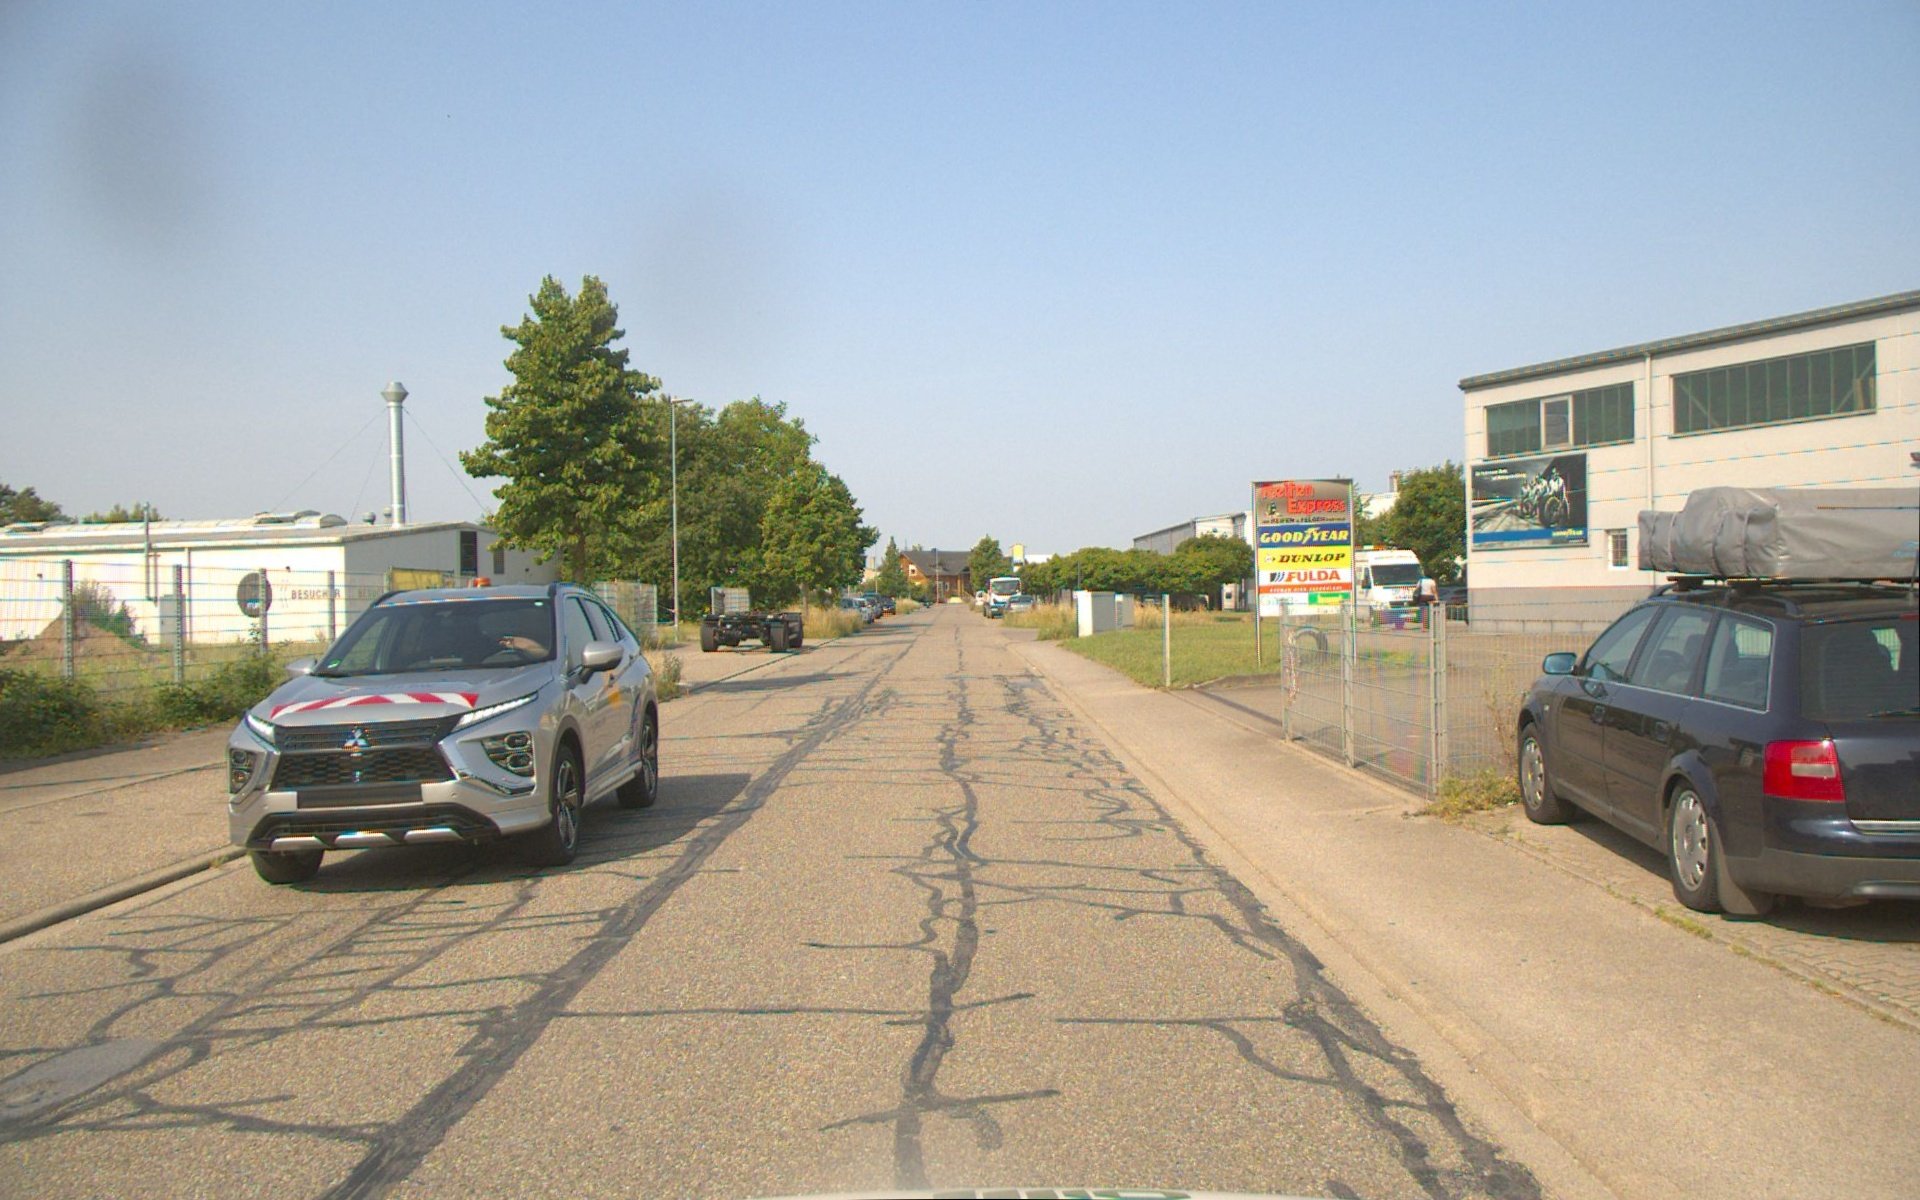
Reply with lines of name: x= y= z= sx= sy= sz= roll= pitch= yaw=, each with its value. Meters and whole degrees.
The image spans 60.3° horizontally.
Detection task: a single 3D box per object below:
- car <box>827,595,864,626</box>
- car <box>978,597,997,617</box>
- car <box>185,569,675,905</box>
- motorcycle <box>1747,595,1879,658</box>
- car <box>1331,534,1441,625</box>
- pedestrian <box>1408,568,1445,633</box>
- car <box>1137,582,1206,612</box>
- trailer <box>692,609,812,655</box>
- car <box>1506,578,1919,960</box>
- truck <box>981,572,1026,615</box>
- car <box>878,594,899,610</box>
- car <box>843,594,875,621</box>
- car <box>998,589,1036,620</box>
car: x=-6.021 y=0.525 z=87.412 sx=1.534 sy=1.565 sz=3.689 roll=-2 pitch=0 yaw=2
car: x=2.873 y=0.718 z=172.235 sx=1.800 sy=1.957 sz=3.756 roll=-2 pitch=0 yaw=0
car: x=-3.076 y=0.691 z=10.588 sx=1.775 sy=1.655 sz=4.248 roll=-2 pitch=0 yaw=-1
motorcycle: x=15.901 y=0.488 z=30.894 sx=0.790 sy=1.114 sz=2.186 roll=-1 pitch=0 yaw=-24
car: x=13.723 y=-0.633 z=53.635 sx=1.934 sy=2.753 sz=5.880 roll=-1 pitch=0 yaw=-1
pedestrian: x=12.307 y=0.012 z=43.619 sx=0.690 sy=1.668 sz=0.746 roll=-1 pitch=0 yaw=35
car: x=12.612 y=-0.175 z=98.532 sx=1.659 sy=1.616 sz=4.501 roll=-2 pitch=0 yaw=45
trailer: x=-6.113 y=0.895 z=50.005 sx=2.530 sy=1.205 sz=9.361 roll=0 pitch=0 yaw=-1
car: x=4.131 y=0.603 z=8.253 sx=1.638 sy=1.392 sz=4.396 roll=-1 pitch=0 yaw=4
truck: x=2.866 y=-0.443 z=110.084 sx=2.312 sy=2.728 sz=6.506 roll=-2 pitch=0 yaw=-4
car: x=-6.266 y=0.169 z=145.583 sx=1.763 sy=1.411 sz=3.637 roll=0 pitch=0 yaw=-1
car: x=-5.883 y=0.426 z=96.761 sx=1.649 sy=1.495 sz=4.253 roll=0 pitch=0 yaw=0
car: x=2.954 y=0.233 z=86.338 sx=1.757 sy=1.544 sz=4.423 roll=-2 pitch=0 yaw=-1
